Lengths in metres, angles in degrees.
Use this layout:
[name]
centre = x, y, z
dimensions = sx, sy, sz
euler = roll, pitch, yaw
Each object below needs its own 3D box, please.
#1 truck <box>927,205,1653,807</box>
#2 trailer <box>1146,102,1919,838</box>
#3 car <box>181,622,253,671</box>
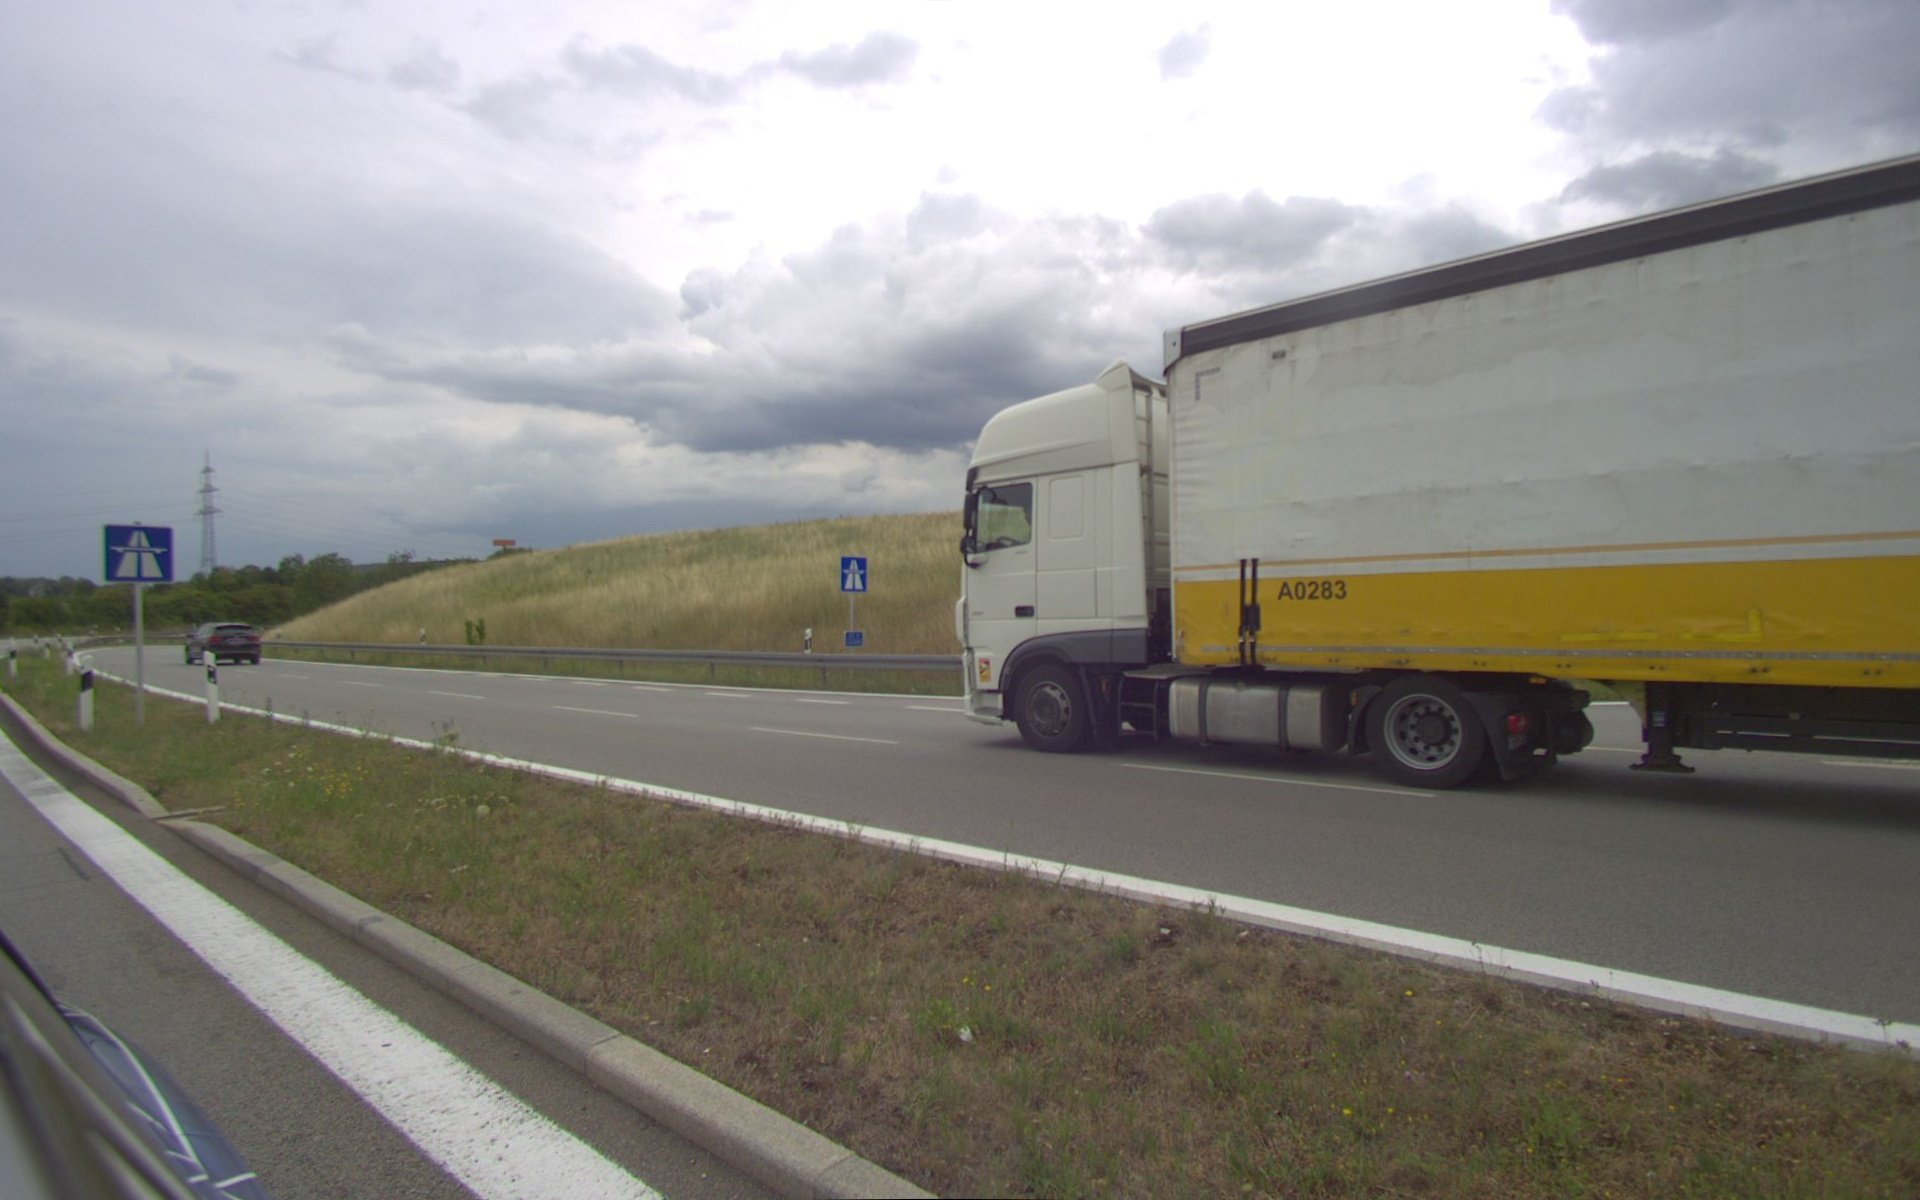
[truck]
centre = 2.880, -0.636, 10.159
dimensions = 6.403, 4.172, 2.621
euler = -1, 0, 43
[trailer]
centre = 7.716, -0.776, 5.640
dimensions = 13.840, 4.242, 2.663
euler = -1, 0, 43
[car]
centre = -28.686, 1.733, 39.030
dimensions = 1.968, 1.696, 4.121
euler = -1, 0, -40
